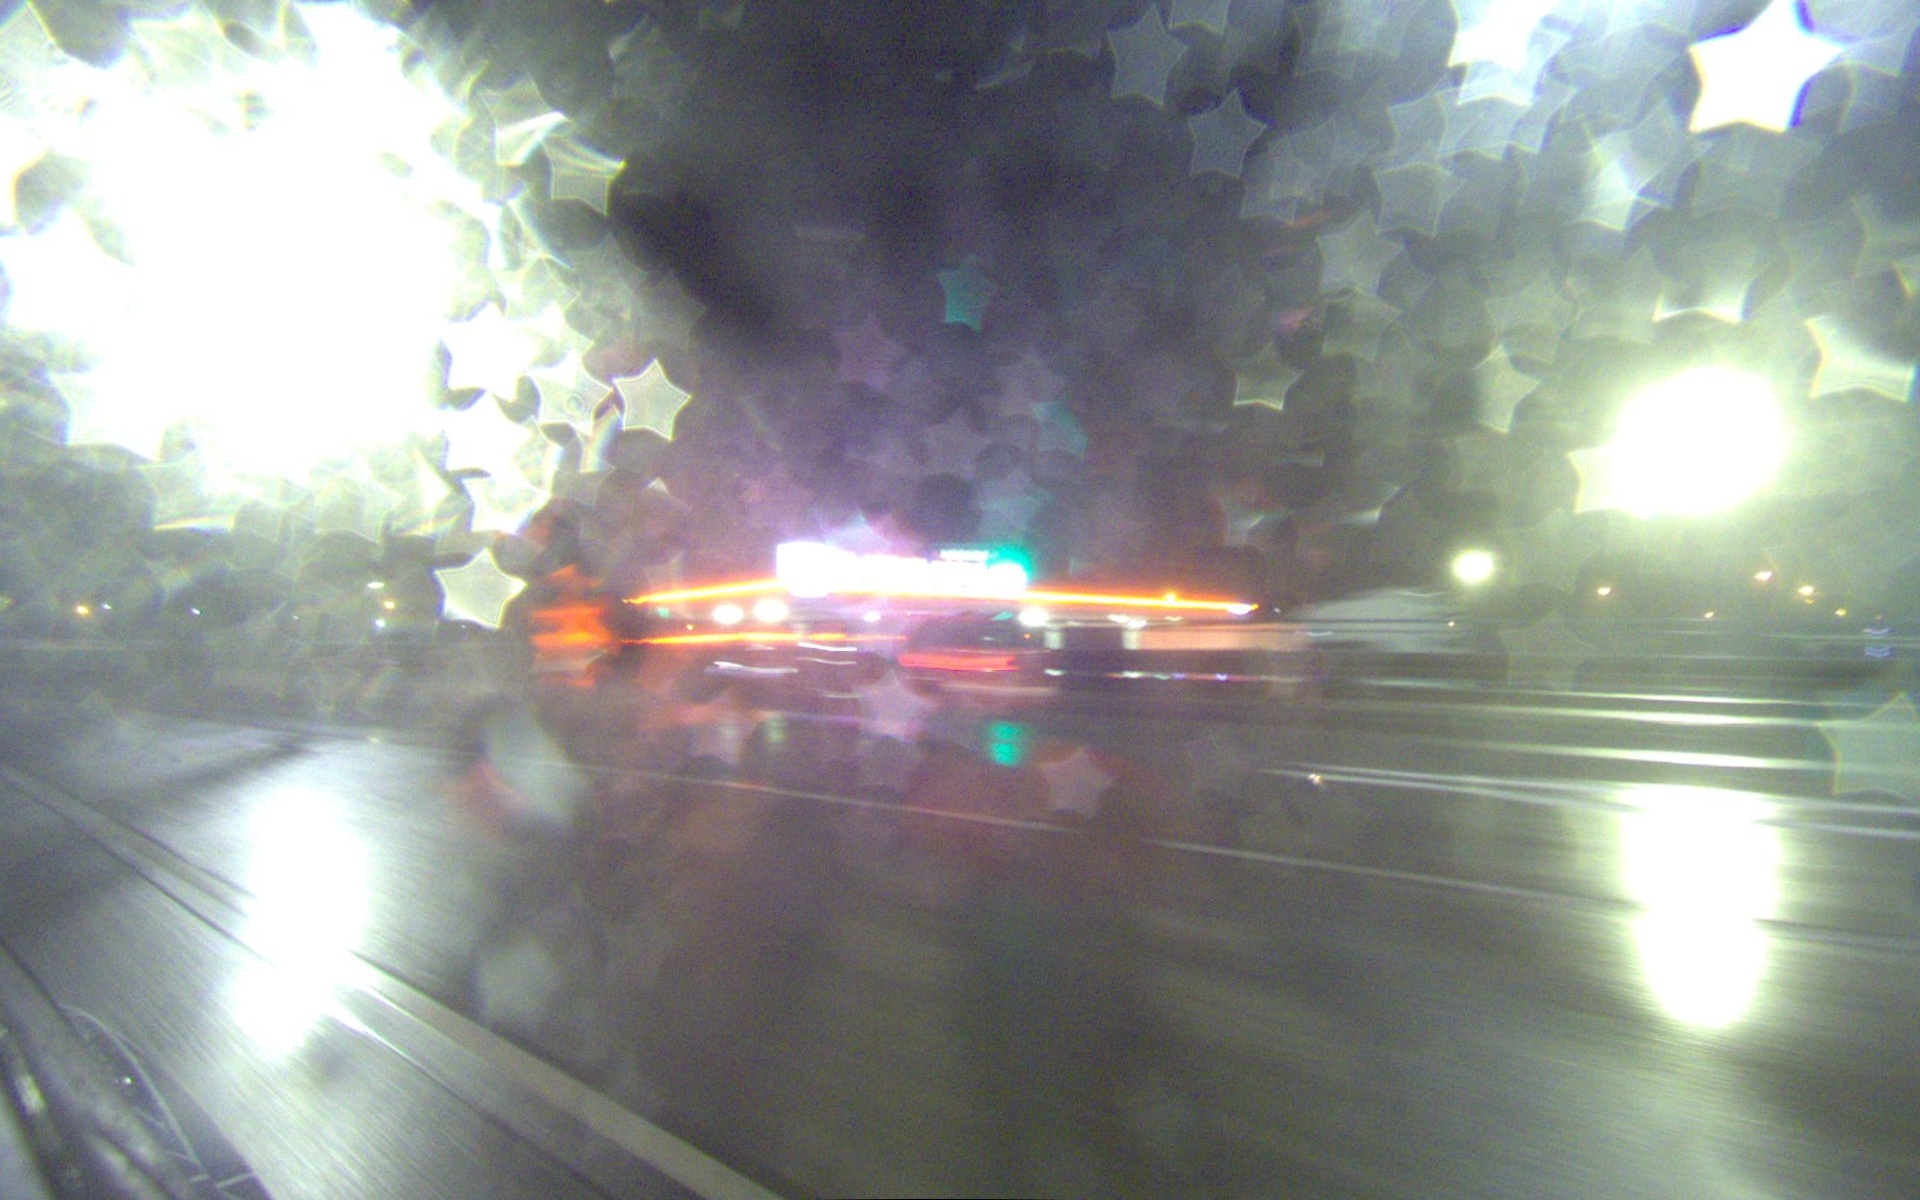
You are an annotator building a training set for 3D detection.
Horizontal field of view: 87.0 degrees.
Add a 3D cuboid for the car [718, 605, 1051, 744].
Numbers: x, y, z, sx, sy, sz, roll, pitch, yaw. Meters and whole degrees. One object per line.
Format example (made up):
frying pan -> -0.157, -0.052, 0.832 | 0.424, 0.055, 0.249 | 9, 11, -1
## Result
car -> -1.004, 0.835, 12.740 | 3.942, 1.468, 1.751 | -1, 0, 34
